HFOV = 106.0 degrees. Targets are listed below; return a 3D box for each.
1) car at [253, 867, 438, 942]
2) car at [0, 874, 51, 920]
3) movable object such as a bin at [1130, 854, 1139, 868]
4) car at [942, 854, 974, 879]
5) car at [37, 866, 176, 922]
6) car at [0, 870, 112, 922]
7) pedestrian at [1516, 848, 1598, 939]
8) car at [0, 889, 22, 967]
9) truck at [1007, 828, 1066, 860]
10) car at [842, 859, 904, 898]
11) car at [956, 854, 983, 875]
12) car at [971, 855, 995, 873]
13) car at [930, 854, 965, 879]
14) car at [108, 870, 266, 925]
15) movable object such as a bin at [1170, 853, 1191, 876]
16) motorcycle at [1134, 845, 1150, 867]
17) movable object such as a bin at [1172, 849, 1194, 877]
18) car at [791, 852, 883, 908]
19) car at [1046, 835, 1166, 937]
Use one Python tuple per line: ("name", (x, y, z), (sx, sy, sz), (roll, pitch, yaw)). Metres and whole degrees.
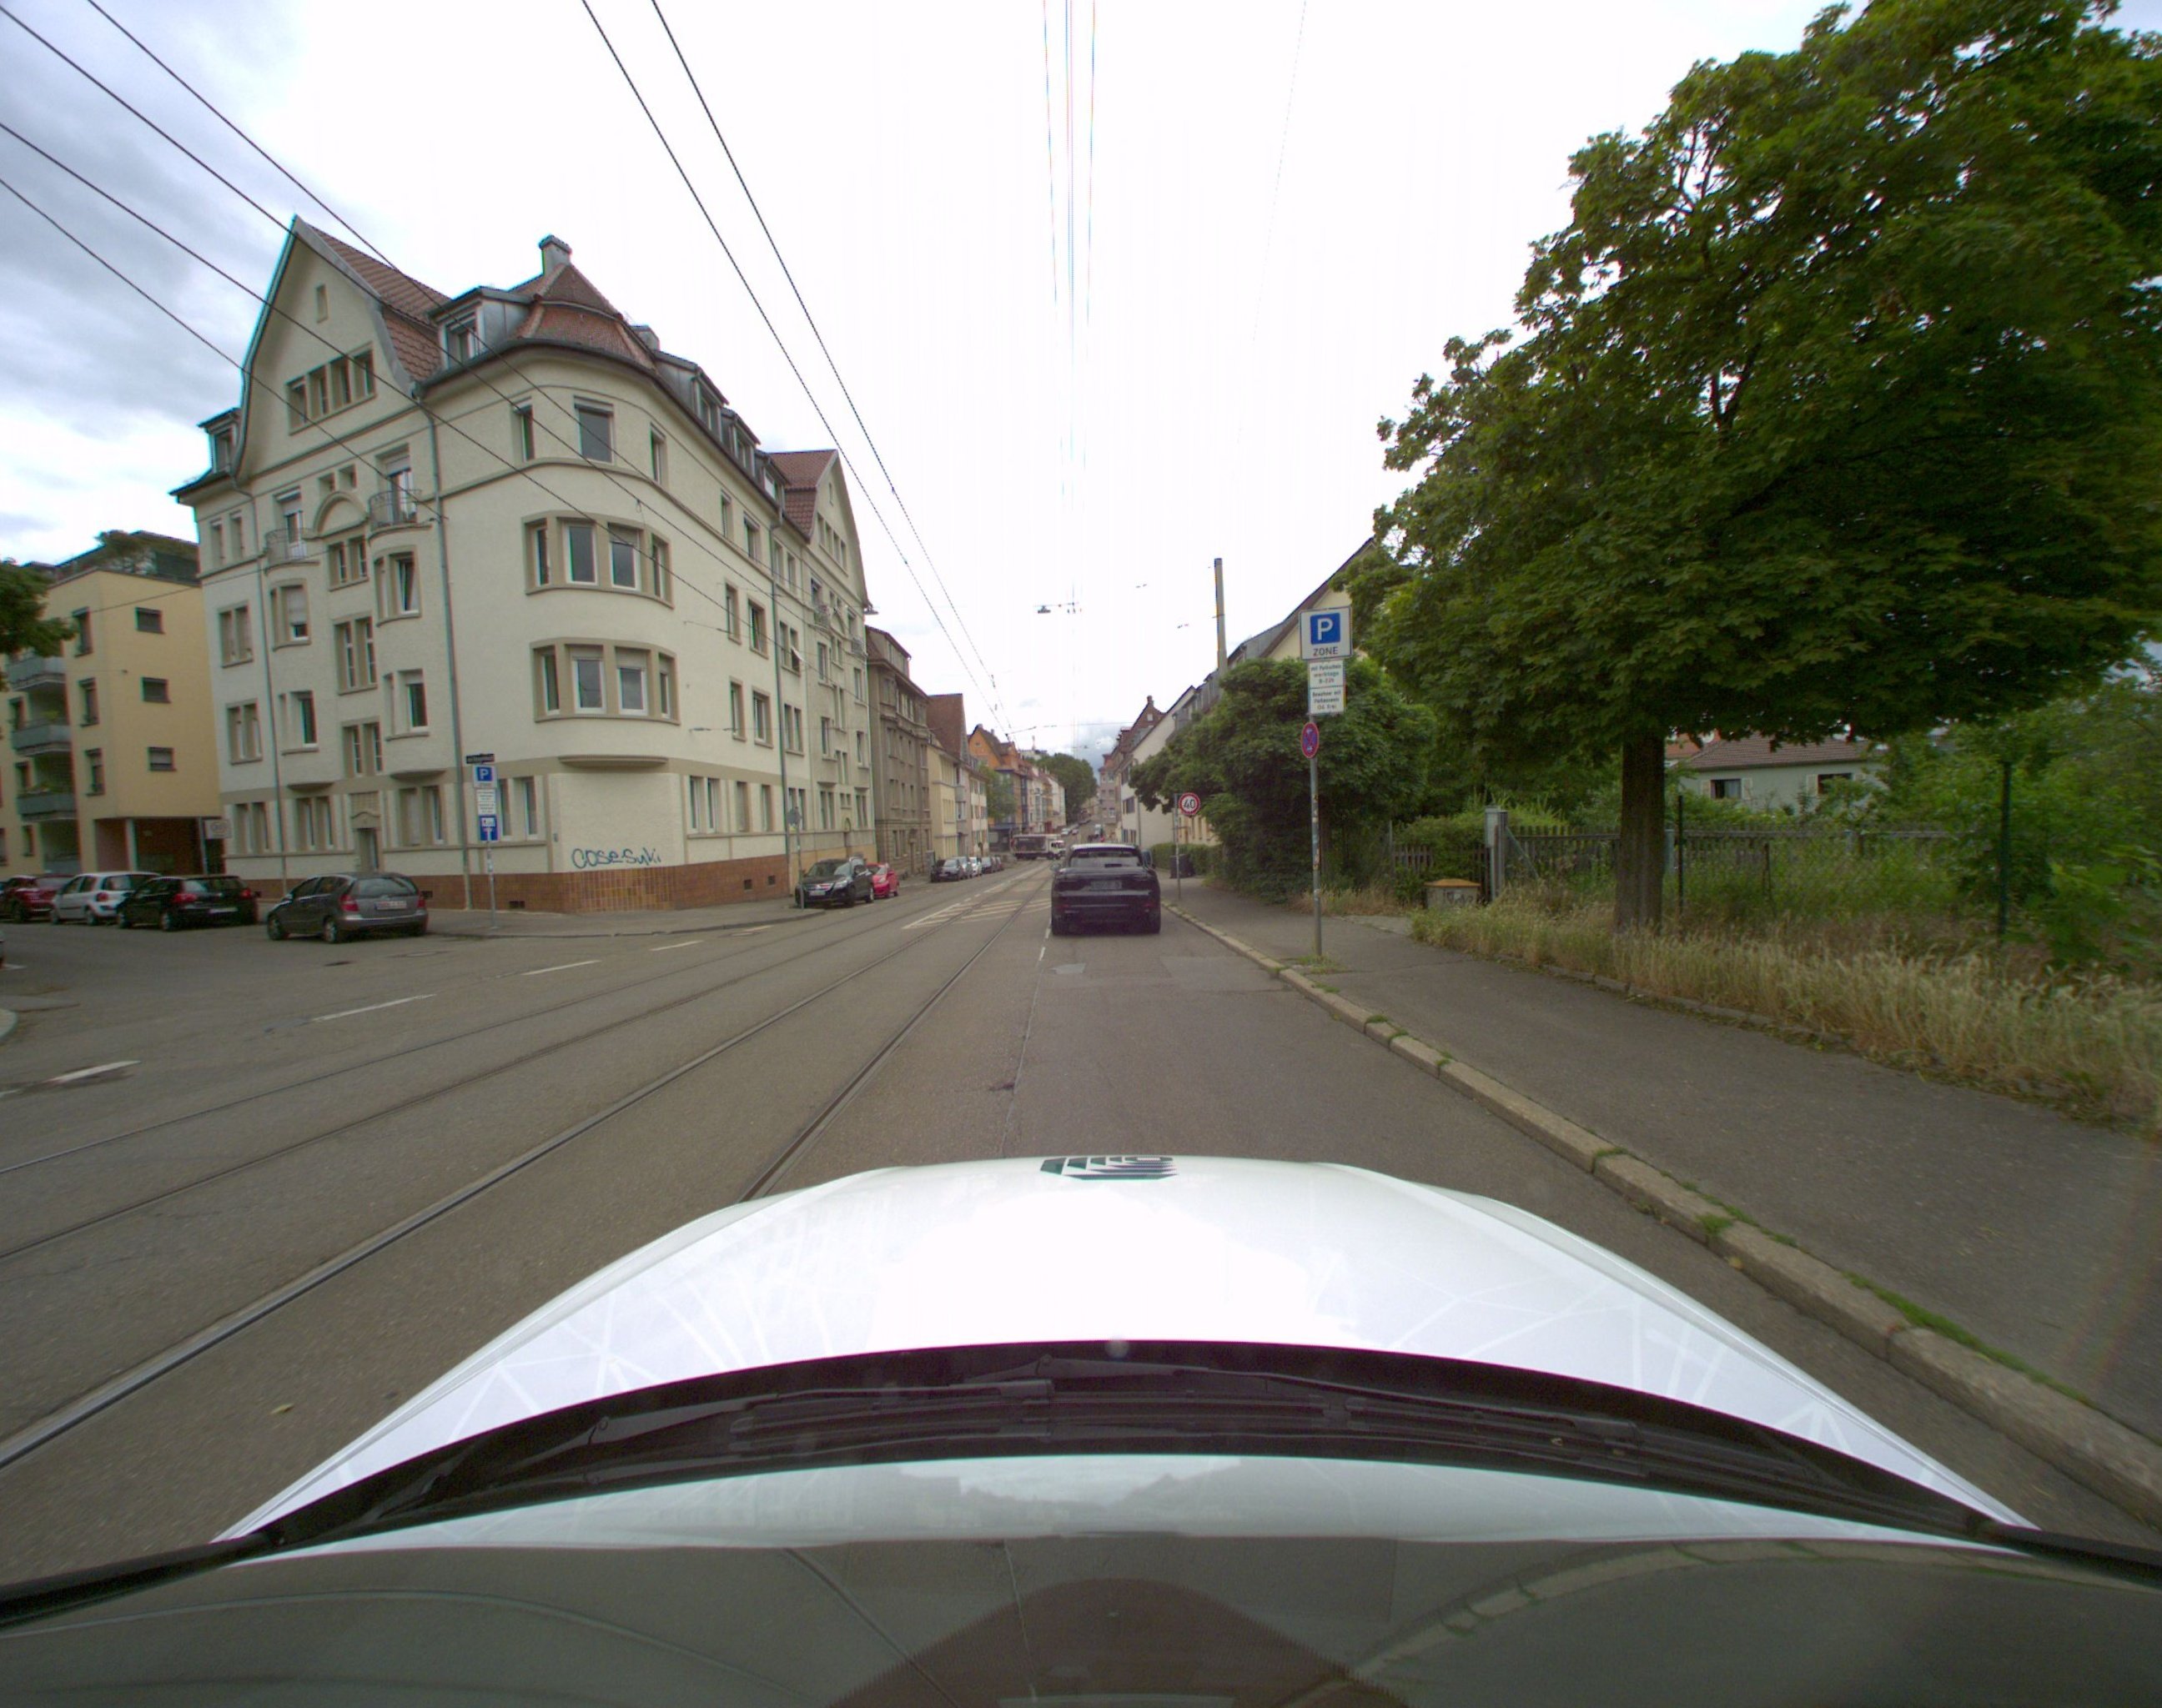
("car", (-17.712, 1.185, 19.613), (3.950, 1.571, 1.887), (-2, 0, 25))
("car", (-38.943, 1.556, 29.099), (3.950, 1.544, 1.771), (-2, 0, 25))
("movable object such as a bin", (4.047, 0.533, 61.832), (0.586, 1.080, 0.692), (-2, 0, 1))
("car", (-8.537, 0.898, 56.993), (1.616, 1.604, 4.348), (-3, -1, -2))
("car", (-30.077, 1.232, 25.137), (3.950, 1.544, 1.771), (-2, 0, 25))
("car", (-34.335, 1.386, 27.050), (3.950, 1.544, 1.771), (-2, 0, 25))
("pedestrian", (7.225, 0.579, 12.398), (0.742, 1.308, 0.808), (-2, 0, 0))
("car", (-22.356, 1.430, 15.534), (3.950, 1.439, 1.771), (0, 2, 25))
("truck", (-6.424, -1.325, 116.968), (8.483, 4.182, 2.274), (-3, -3, 29))
("car", (-8.470, 0.976, 33.512), (1.616, 1.463, 3.743), (-3, -1, -2))
("car", (-8.591, 0.822, 62.920), (1.616, 1.463, 3.682), (-3, -1, -2))
("car", (-8.556, 0.872, 71.634), (1.616, 1.473, 4.552), (-3, -1, -2))
("car", (-8.498, 0.821, 52.166), (1.616, 1.463, 4.030), (-3, -1, -2))
("car", (-25.167, 1.219, 22.934), (3.950, 1.354, 1.887), (-2, 0, 25))
("movable object such as a bin", (4.510, 0.489, 37.109), (0.790, 1.012, 0.788), (-2, 0, -4))
("motorcycle", (4.117, 0.142, 55.282), (0.835, 1.456, 2.553), (-2, 0, 1))
("movable object such as a bin", (4.558, 0.383, 36.309), (0.790, 1.218, 0.788), (-2, 0, -4))
("car", (-8.174, 0.839, 27.709), (1.862, 1.646, 4.399), (-3, -1, -2))
("car", (0.410, 0.547, 15.897), (1.988, 1.676, 3.999), (-2, 0, -1))
